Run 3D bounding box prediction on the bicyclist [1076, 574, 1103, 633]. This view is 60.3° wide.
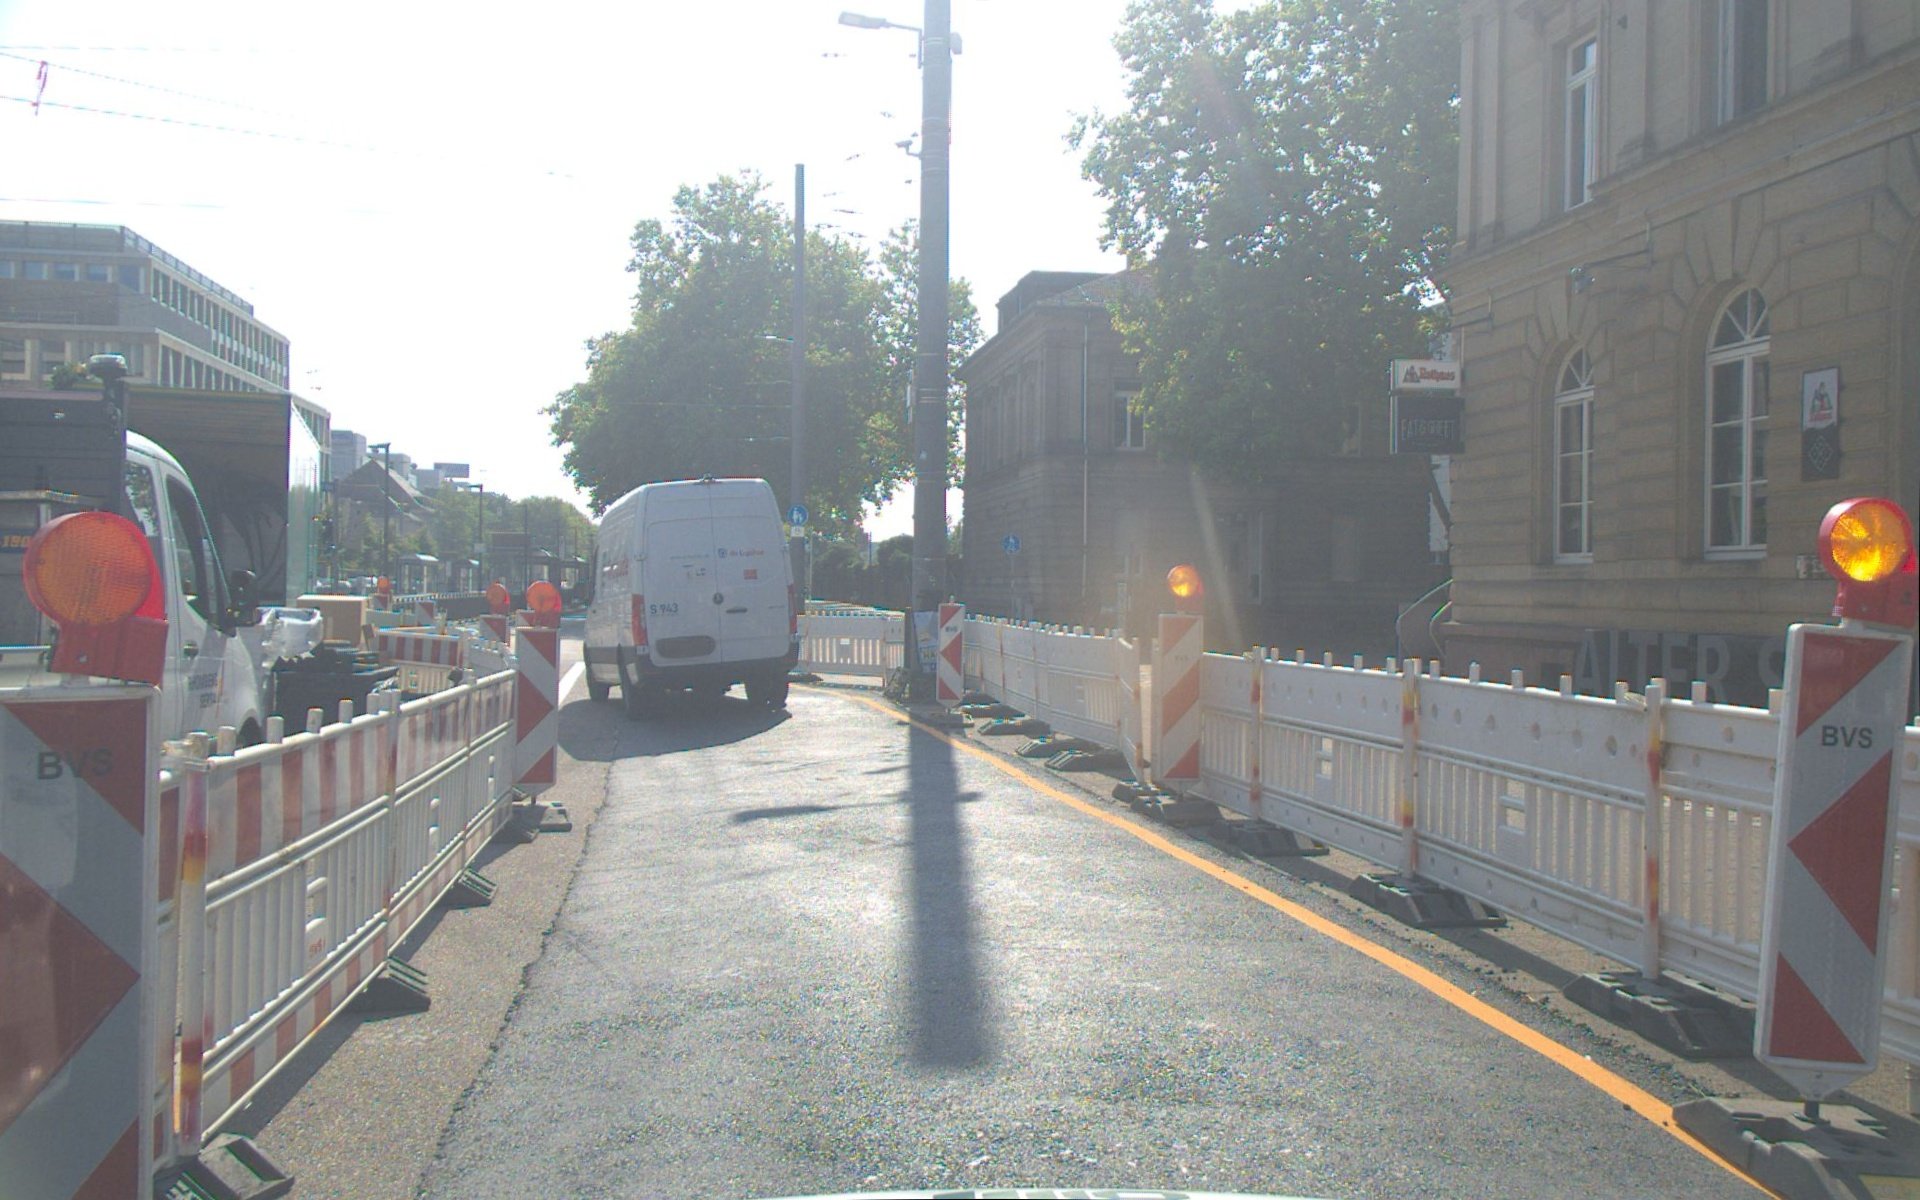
[{"bbox_3d":[3.447,0.091,44.085,0.582,1.566,0.470,1,1,23],"label":"bicyclist"}]

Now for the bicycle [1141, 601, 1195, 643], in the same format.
[{"bbox_3d":[5.638,0.592,44.941,0.485,1.017,1.802,0,3,-28],"label":"bicycle"}]

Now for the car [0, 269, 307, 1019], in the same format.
[{"bbox_3d":[-4.586,0.133,7.008,2.168,2.466,7.179,0,0,-12],"label":"car"}]

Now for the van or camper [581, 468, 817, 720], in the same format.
[{"bbox_3d":[-3.440,-0.134,20.867,2.083,2.728,5.223,-2,1,-18],"label":"van or camper"}]

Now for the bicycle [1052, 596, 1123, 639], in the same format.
[{"bbox_3d":[3.391,0.454,44.113,1.814,1.108,0.492,1,1,24],"label":"bicycle"}]

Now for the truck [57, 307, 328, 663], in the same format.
[{"bbox_3d":[-10.368,-1.382,23.119,2.752,3.980,8.366,2,1,-21],"label":"truck"}]
